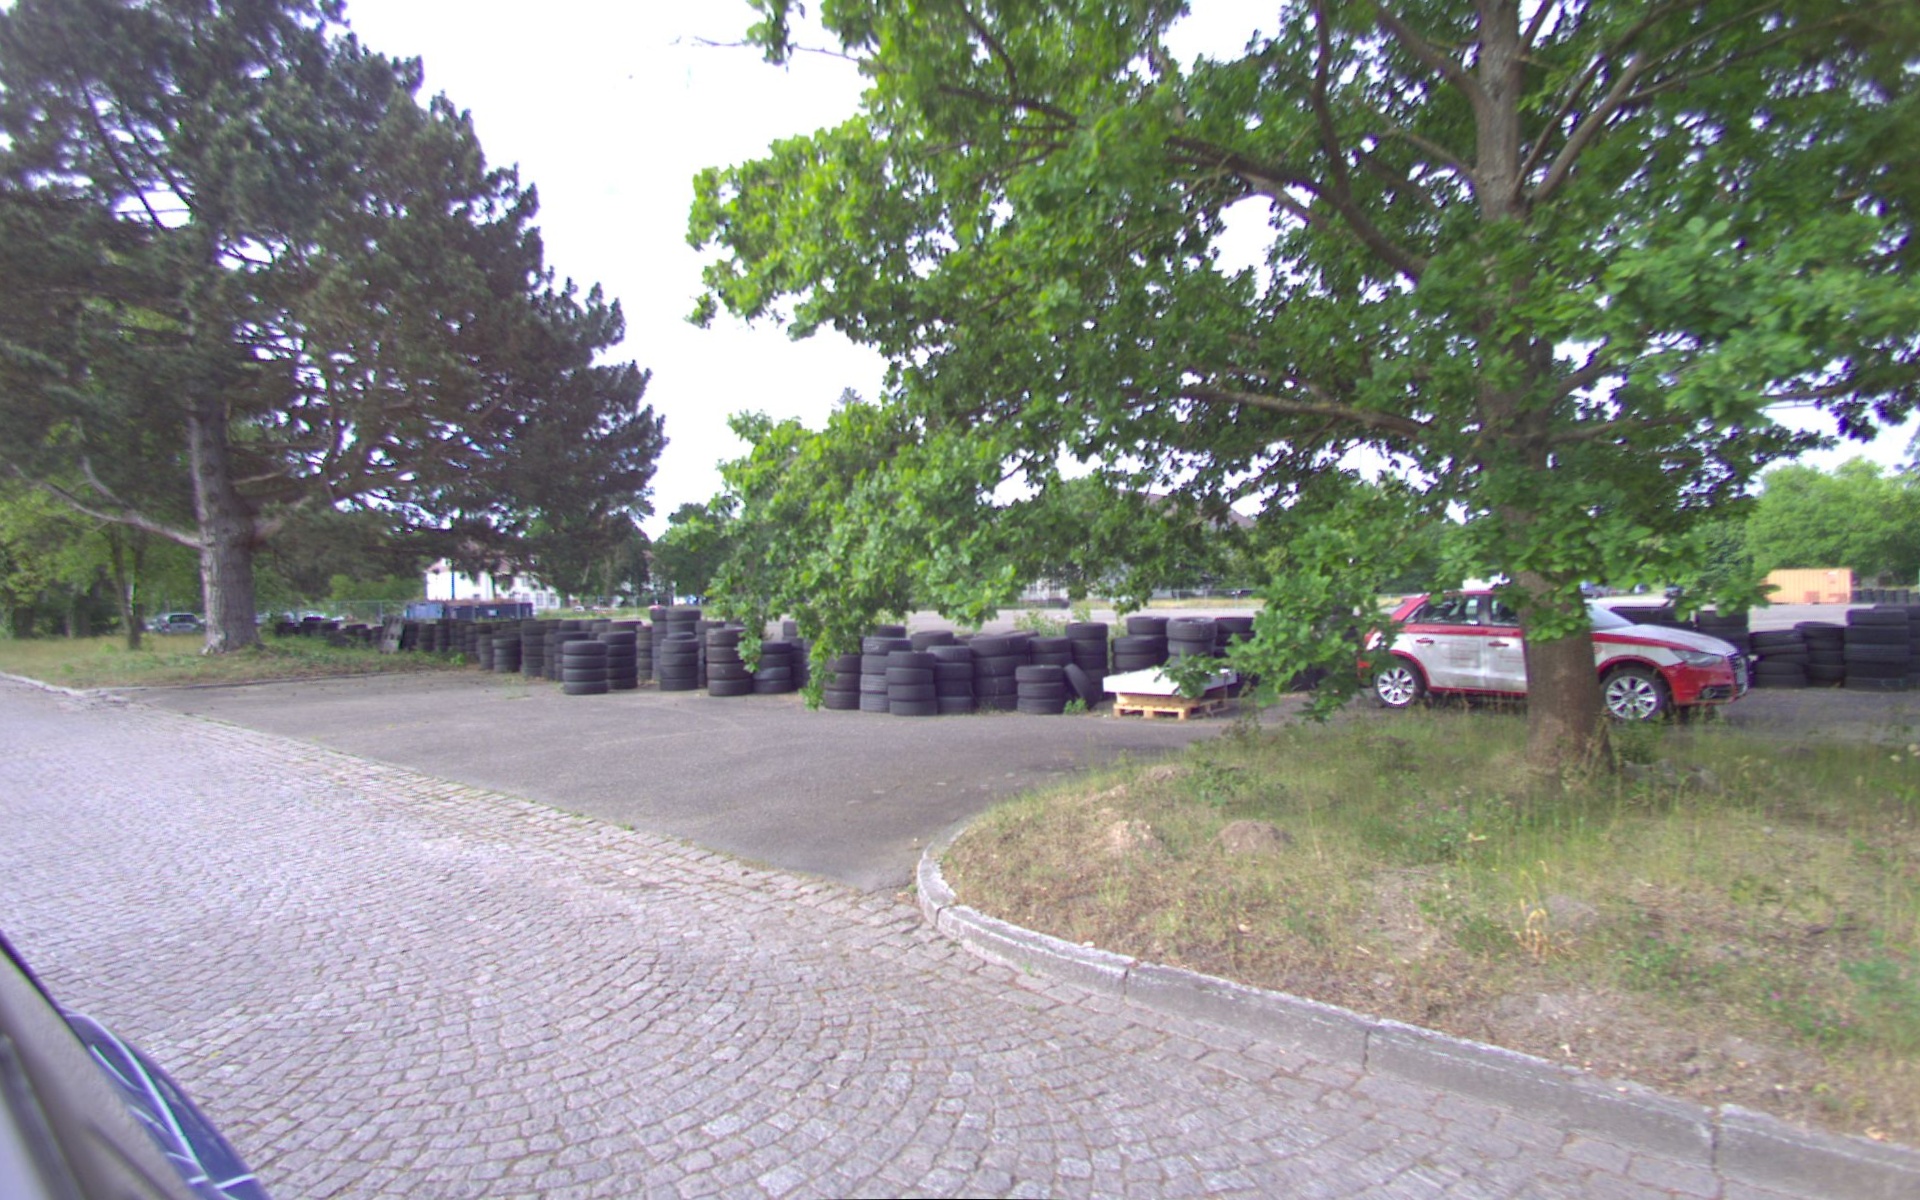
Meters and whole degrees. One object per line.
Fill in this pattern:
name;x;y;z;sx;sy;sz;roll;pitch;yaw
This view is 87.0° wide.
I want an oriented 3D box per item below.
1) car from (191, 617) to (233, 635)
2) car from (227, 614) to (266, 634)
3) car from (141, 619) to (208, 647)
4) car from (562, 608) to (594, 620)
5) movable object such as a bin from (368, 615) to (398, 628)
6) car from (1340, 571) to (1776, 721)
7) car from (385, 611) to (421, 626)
car;-62.979;2.185;85.190;4.315;1.436;1.807;-1;0;38
car;-61.419;2.039;87.112;3.893;1.531;1.654;-4;-1;38
car;-41.239;1.740;53.094;4.416;1.427;1.807;-2;-3;39
car;-46.243;1.679;122.530;4.399;1.361;1.689;-1;0;41
movable object such as a bin;-47.950;1.774;84.135;1.953;0.976;1.431;-1;0;34
car;6.771;0.482;11.800;1.606;1.444;4.067;-1;-1;-43
car;-59.228;2.009;107.652;4.396;1.486;1.807;-1;0;38
